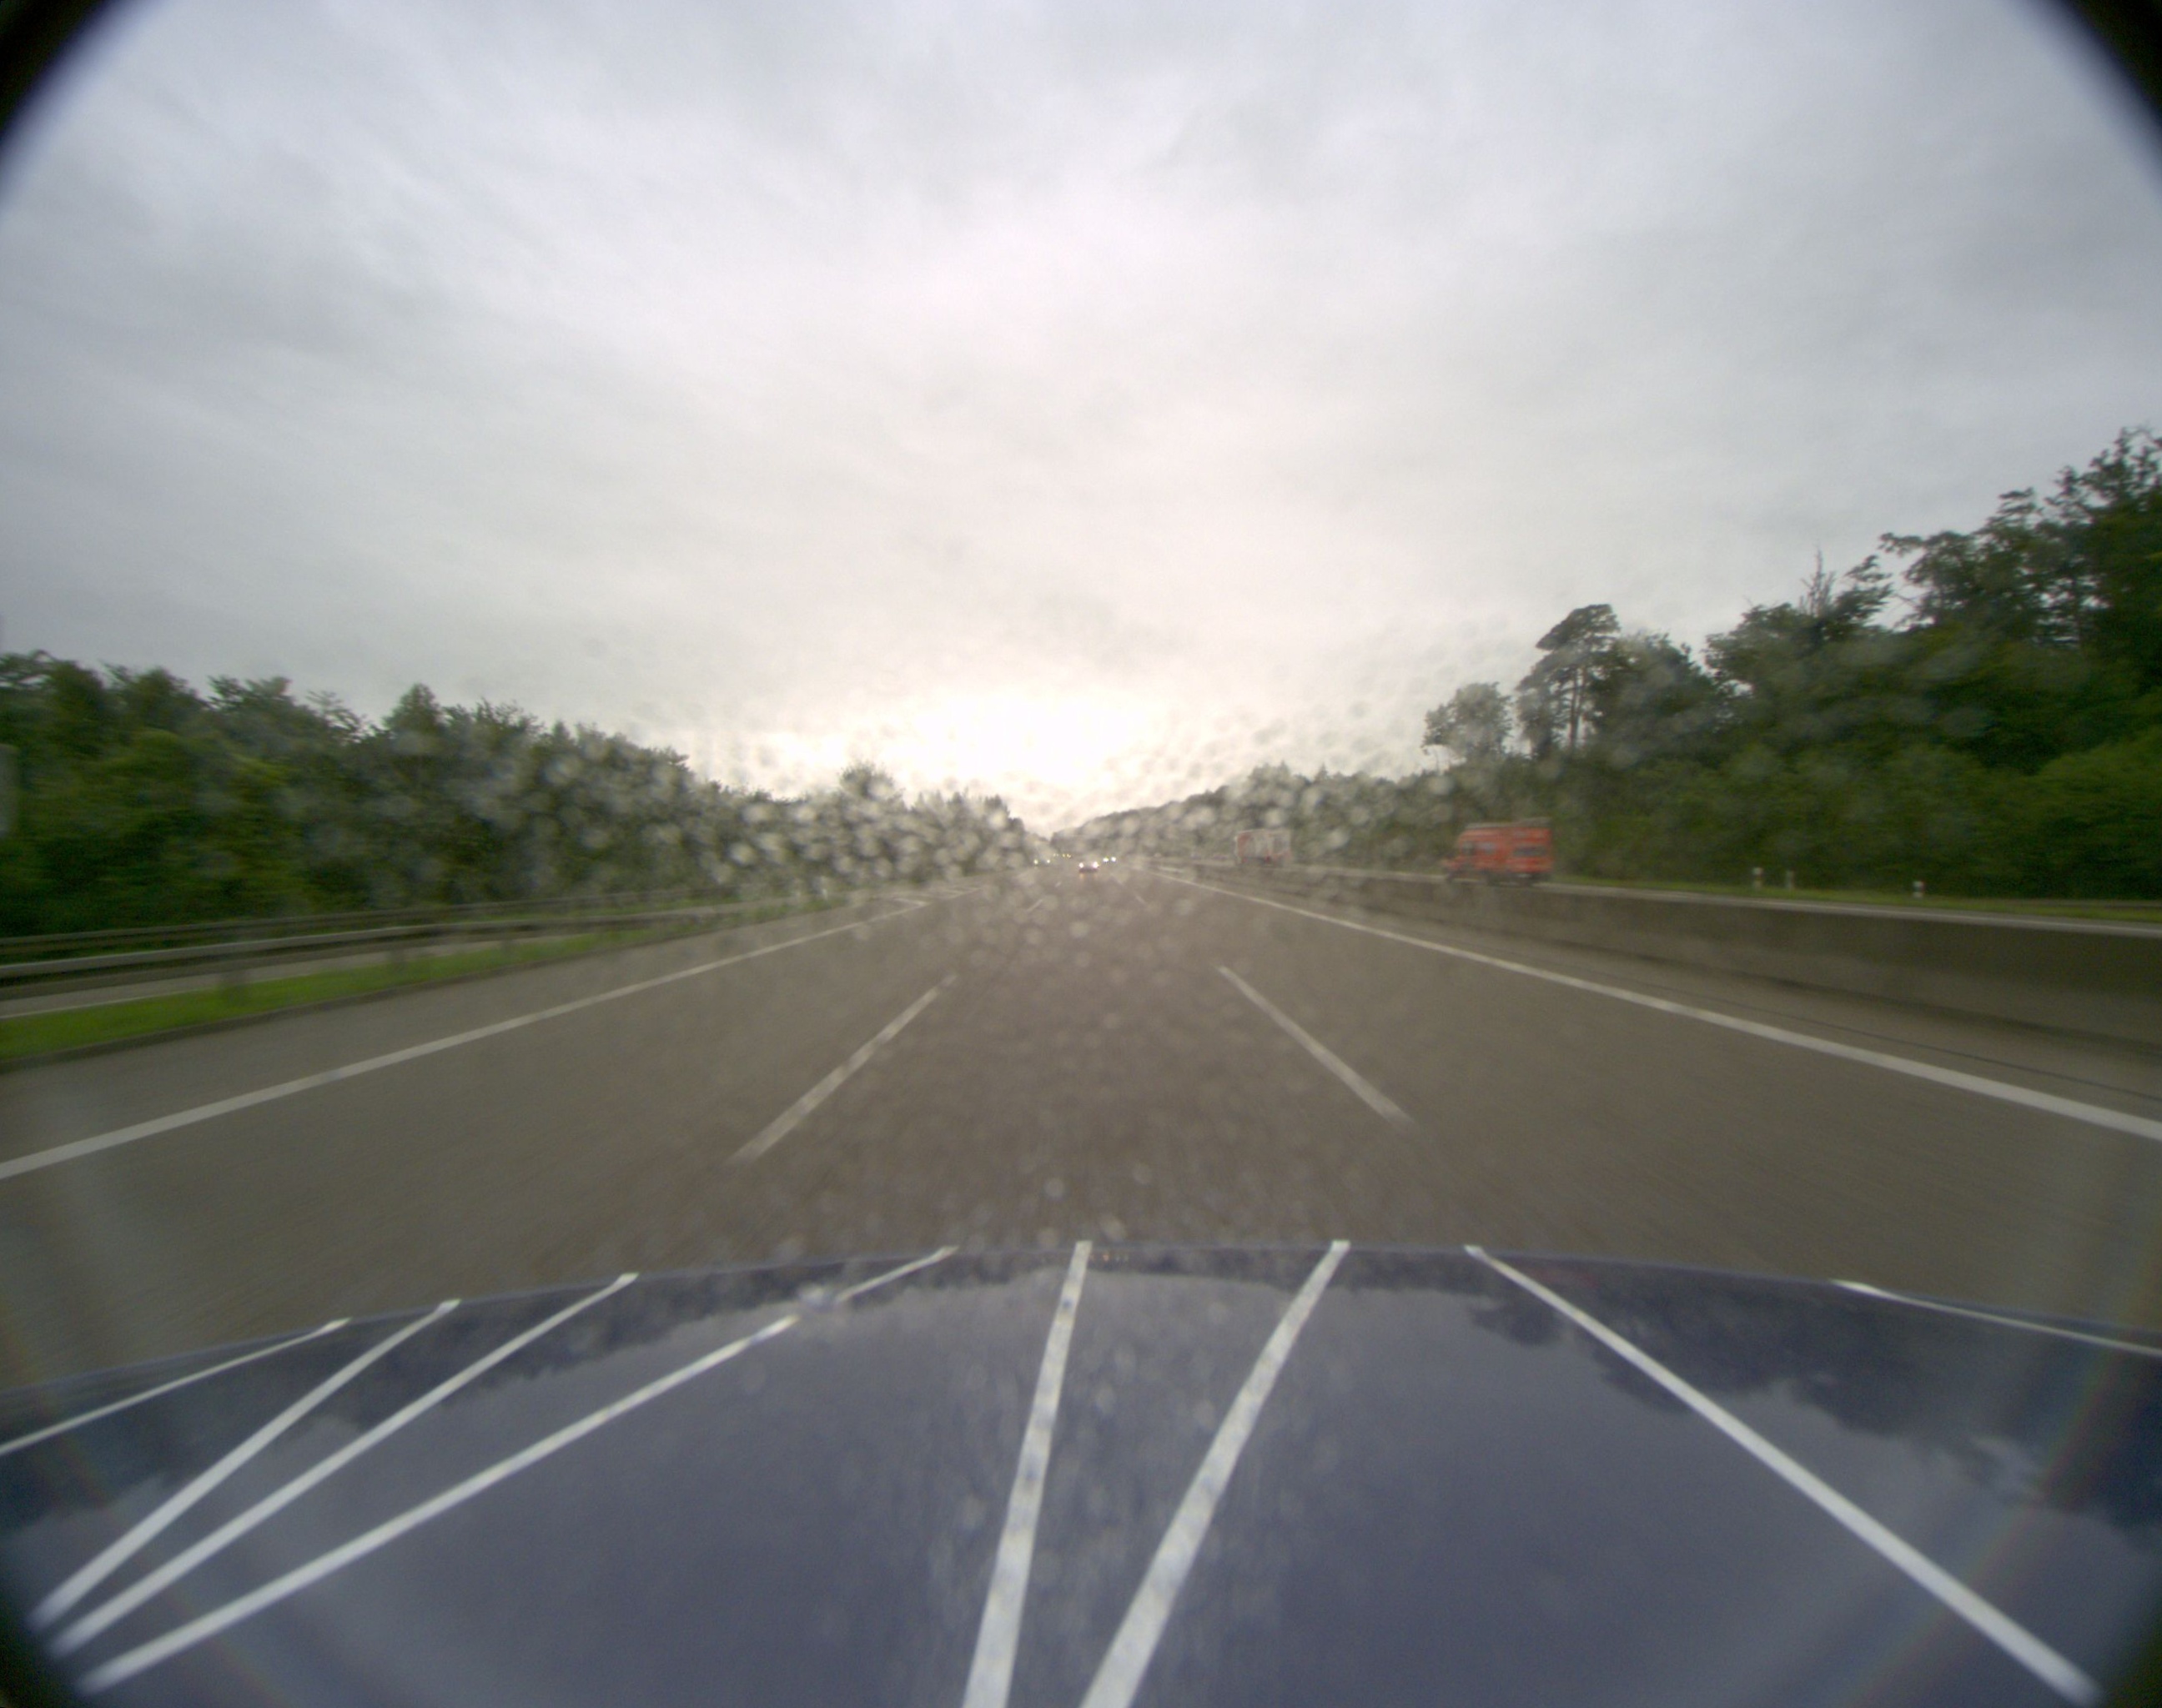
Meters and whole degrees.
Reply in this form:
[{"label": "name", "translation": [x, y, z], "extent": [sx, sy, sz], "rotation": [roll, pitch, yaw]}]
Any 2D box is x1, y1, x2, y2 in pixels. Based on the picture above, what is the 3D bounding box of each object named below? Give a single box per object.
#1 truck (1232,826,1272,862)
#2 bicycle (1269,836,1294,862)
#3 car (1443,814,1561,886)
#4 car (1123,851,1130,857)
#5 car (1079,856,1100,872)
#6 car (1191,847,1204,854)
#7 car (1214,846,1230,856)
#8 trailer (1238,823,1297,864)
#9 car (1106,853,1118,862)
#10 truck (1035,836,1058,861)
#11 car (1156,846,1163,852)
[{"label": "truck", "translation": [20.015, -1.167, 89.270], "extent": [3.356, 4.005, 6.464], "rotation": [-1, 1, 1]}, {"label": "bicycle", "translation": [19.836, -0.484, 75.204], "extent": [2.199, 2.511, 1.110], "rotation": [-2, 1, 1]}, {"label": "car", "translation": [19.389, -0.187, 35.424], "extent": [2.186, 3.025, 5.975], "rotation": [-1, 1, 0]}, {"label": "car", "translation": [13.826, -0.109, 230.028], "extent": [1.998, 1.718, 4.000], "rotation": [-1, 0, 0]}, {"label": "car", "translation": [0.820, 0.942, 73.331], "extent": [1.932, 1.521, 4.299], "rotation": [0, -1, 2]}, {"label": "car", "translation": [22.396, -0.679, 145.887], "extent": [1.715, 1.433, 3.999], "rotation": [0, 0, -1]}, {"label": "car", "translation": [23.836, -0.574, 128.842], "extent": [1.998, 1.608, 4.000], "rotation": [-1, 1, 1]}, {"label": "trailer", "translation": [19.932, -1.102, 82.071], "extent": [3.370, 3.994, 12.609], "rotation": [-1, 0, 1]}, {"label": "car", "translation": [5.281, 0.592, 130.919], "extent": [2.009, 1.455, 4.000], "rotation": [0, 0, 2]}, {"label": "truck", "translation": [-5.633, -0.863, 126.278], "extent": [3.244, 3.872, 12.024], "rotation": [-1, 0, 0]}, {"label": "car", "translation": [21.299, -1.346, 206.441], "extent": [1.693, 1.464, 3.543], "rotation": [-1, 0, 0]}]
